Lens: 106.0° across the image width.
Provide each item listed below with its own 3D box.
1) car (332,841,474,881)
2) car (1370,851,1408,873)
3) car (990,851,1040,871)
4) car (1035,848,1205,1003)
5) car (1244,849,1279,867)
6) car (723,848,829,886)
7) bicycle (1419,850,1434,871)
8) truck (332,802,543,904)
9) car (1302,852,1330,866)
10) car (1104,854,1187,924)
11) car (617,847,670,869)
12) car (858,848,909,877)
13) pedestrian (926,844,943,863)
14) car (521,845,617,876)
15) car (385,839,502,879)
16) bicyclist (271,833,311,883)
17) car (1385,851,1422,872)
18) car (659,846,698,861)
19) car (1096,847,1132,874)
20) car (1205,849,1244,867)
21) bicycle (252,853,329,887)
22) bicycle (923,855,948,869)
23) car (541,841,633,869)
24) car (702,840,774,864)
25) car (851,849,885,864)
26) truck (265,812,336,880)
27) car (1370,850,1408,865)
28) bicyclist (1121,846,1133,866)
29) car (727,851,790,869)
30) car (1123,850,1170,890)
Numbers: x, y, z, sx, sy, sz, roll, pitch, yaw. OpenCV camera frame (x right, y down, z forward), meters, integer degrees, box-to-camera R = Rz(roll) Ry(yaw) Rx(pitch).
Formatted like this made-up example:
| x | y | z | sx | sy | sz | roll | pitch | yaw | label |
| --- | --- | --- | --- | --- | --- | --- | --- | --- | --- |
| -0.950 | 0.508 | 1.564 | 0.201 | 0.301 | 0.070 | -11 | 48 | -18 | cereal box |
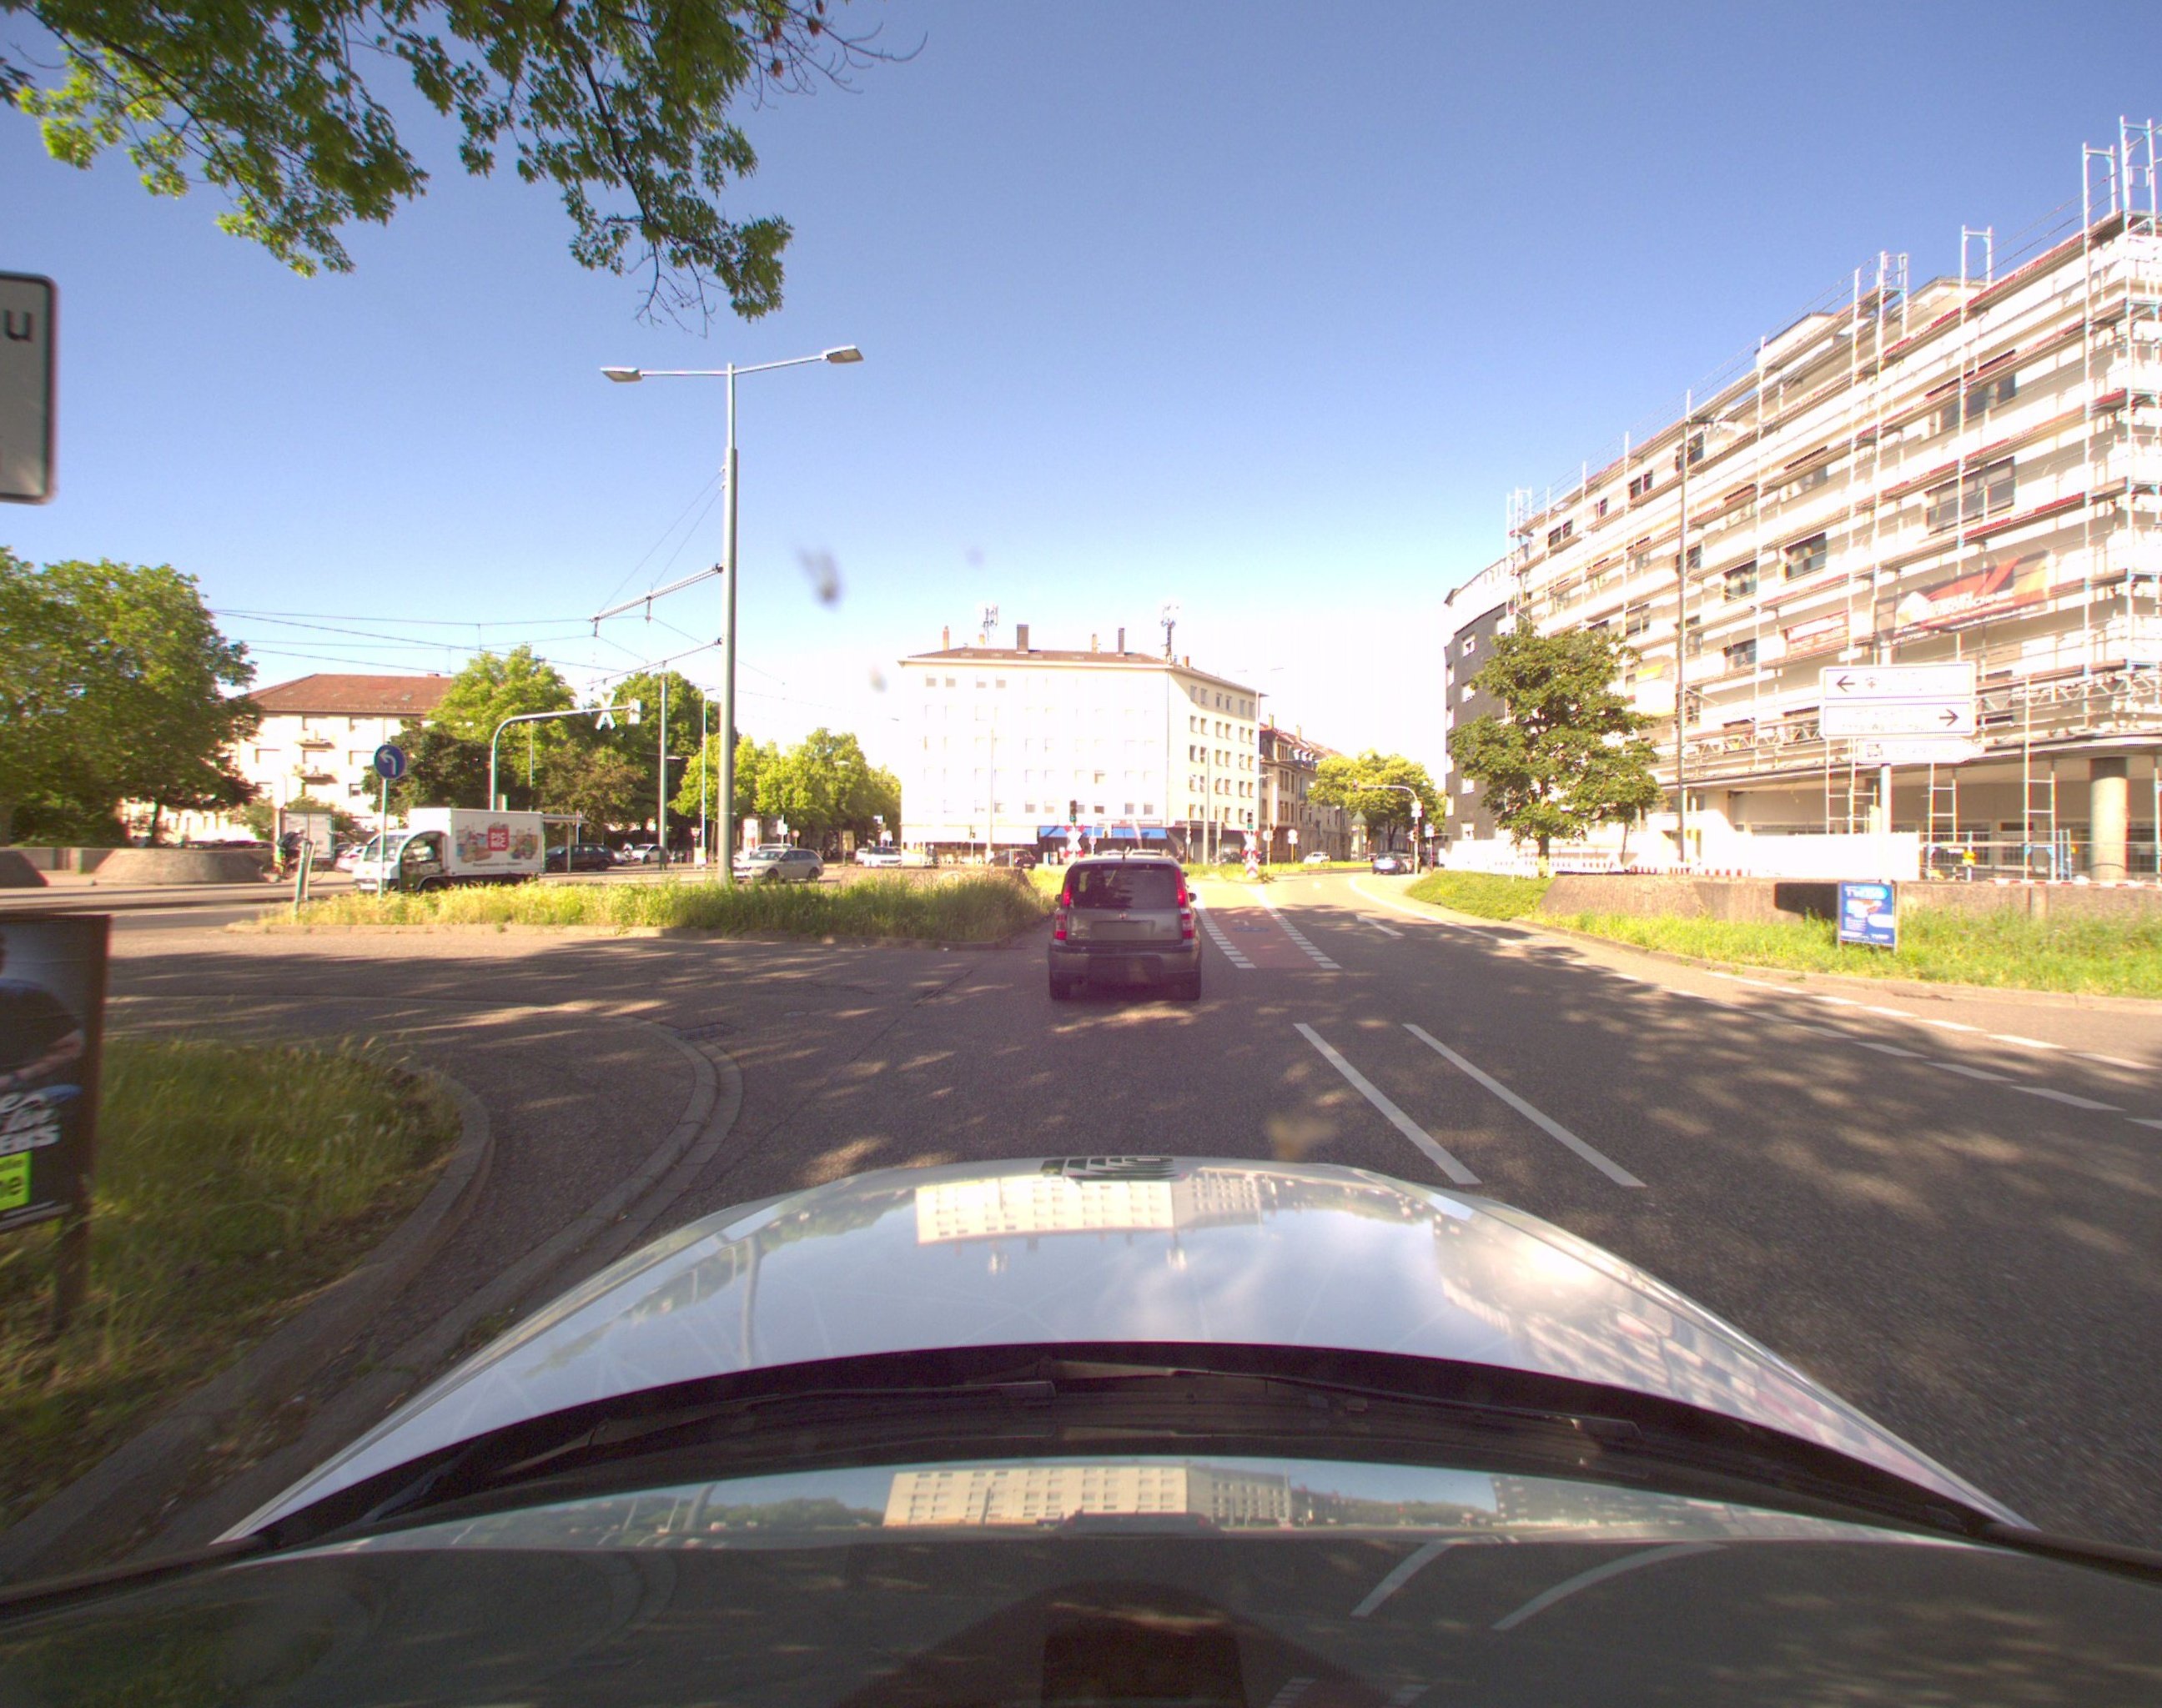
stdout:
| x | y | z | sx | sy | sz | roll | pitch | yaw | label |
| --- | --- | --- | --- | --- | --- | --- | --- | --- | --- |
| -29.700 | 0.289 | 35.777 | 1.849 | 1.543 | 4.576 | 4 | 3 | 42 | car |
| 21.196 | 0.522 | 56.013 | 1.758 | 1.442 | 3.641 | 1 | 1 | 32 | car |
| -4.460 | 0.470 | 54.772 | 1.704 | 1.253 | 3.586 | 1 | 0 | -37 | car |
| 0.419 | 0.697 | 9.640 | 1.654 | 1.510 | 3.252 | 1 | 0 | 1 | car |
| 16.581 | 0.371 | 74.636 | 1.773 | 1.565 | 3.790 | 1 | 0 | 34 | car |
| -12.571 | 0.500 | 33.871 | 1.649 | 1.448 | 4.424 | 1 | 0 | 20 | car |
| 25.898 | 0.500 | 60.964 | 0.567 | 1.511 | 2.825 | 1 | 0 | 33 | bicycle |
| -16.931 | -0.036 | 21.720 | 1.775 | 2.426 | 4.125 | 1 | 0 | 14 | truck |
| 24.519 | 0.502 | 84.994 | 1.773 | 1.483 | 3.554 | 1 | 0 | 34 | car |
| 1.390 | 0.735 | 18.805 | 1.616 | 1.429 | 3.688 | 1 | 0 | 0 | car |
| -34.938 | 0.281 | 65.192 | 1.753 | 1.617 | 4.229 | 1 | 1 | 2 | car |
| -11.376 | 0.444 | 46.726 | 2.004 | 1.562 | 4.350 | 1 | 0 | -26 | car |
| -11.192 | -0.012 | 62.298 | 0.926 | 1.427 | 0.781 | 1 | -1 | 33 | pedestrian |
| -27.101 | 0.299 | 43.234 | 1.743 | 1.488 | 4.029 | 4 | 2 | 21 | car |
| -30.409 | 0.220 | 38.978 | 1.742 | 1.717 | 4.024 | 4 | 2 | 26 | car |
| -24.935 | 0.107 | 25.720 | 0.608 | 1.530 | 0.678 | 2 | 1 | 12 | bicyclist |
| 23.896 | 0.512 | 60.189 | 1.802 | 1.508 | 4.025 | 0 | 1 | 33 | car |
| -34.888 | -0.079 | 70.708 | 1.589 | 1.293 | 3.702 | 0 | 1 | 0 | car |
| 1.804 | 0.328 | 45.893 | 1.643 | 1.438 | 3.391 | 1 | 0 | -4 | car |
| 11.938 | 0.344 | 67.671 | 1.773 | 1.396 | 3.749 | 1 | 0 | 34 | car |
| -24.938 | 0.488 | 25.727 | 0.608 | 1.001 | 1.664 | 2 | 1 | 13 | bicycle |
| -11.144 | 0.620 | 62.252 | 1.832 | 0.951 | 0.790 | 1 | -1 | 34 | bicycle |
| -33.135 | 0.077 | 54.774 | 4.878 | 1.442 | 1.724 | -4 | -2 | -17 | car |
| -23.154 | -0.124 | 55.021 | 3.963 | 1.572 | 2.005 | 1 | 0 | 9 | car |
| -19.092 | 0.186 | 73.067 | 1.987 | 1.310 | 3.999 | 1 | 0 | -1 | car |
| -36.610 | -0.396 | 38.174 | 4.768 | 2.994 | 2.012 | 2 | 1 | 42 | truck |
| 32.778 | 0.363 | 86.854 | 1.907 | 1.594 | 3.982 | 0 | 0 | -13 | car |
| 3.570 | 0.141 | 63.046 | 0.814 | 1.559 | 0.565 | 0 | 0 | 24 | bicyclist |
| -23.655 | 0.441 | 59.843 | 3.989 | 1.243 | 1.992 | 1 | 0 | -12 | car |
| 2.654 | 0.593 | 32.641 | 1.751 | 1.486 | 4.300 | 1 | 0 | 5 | car |
